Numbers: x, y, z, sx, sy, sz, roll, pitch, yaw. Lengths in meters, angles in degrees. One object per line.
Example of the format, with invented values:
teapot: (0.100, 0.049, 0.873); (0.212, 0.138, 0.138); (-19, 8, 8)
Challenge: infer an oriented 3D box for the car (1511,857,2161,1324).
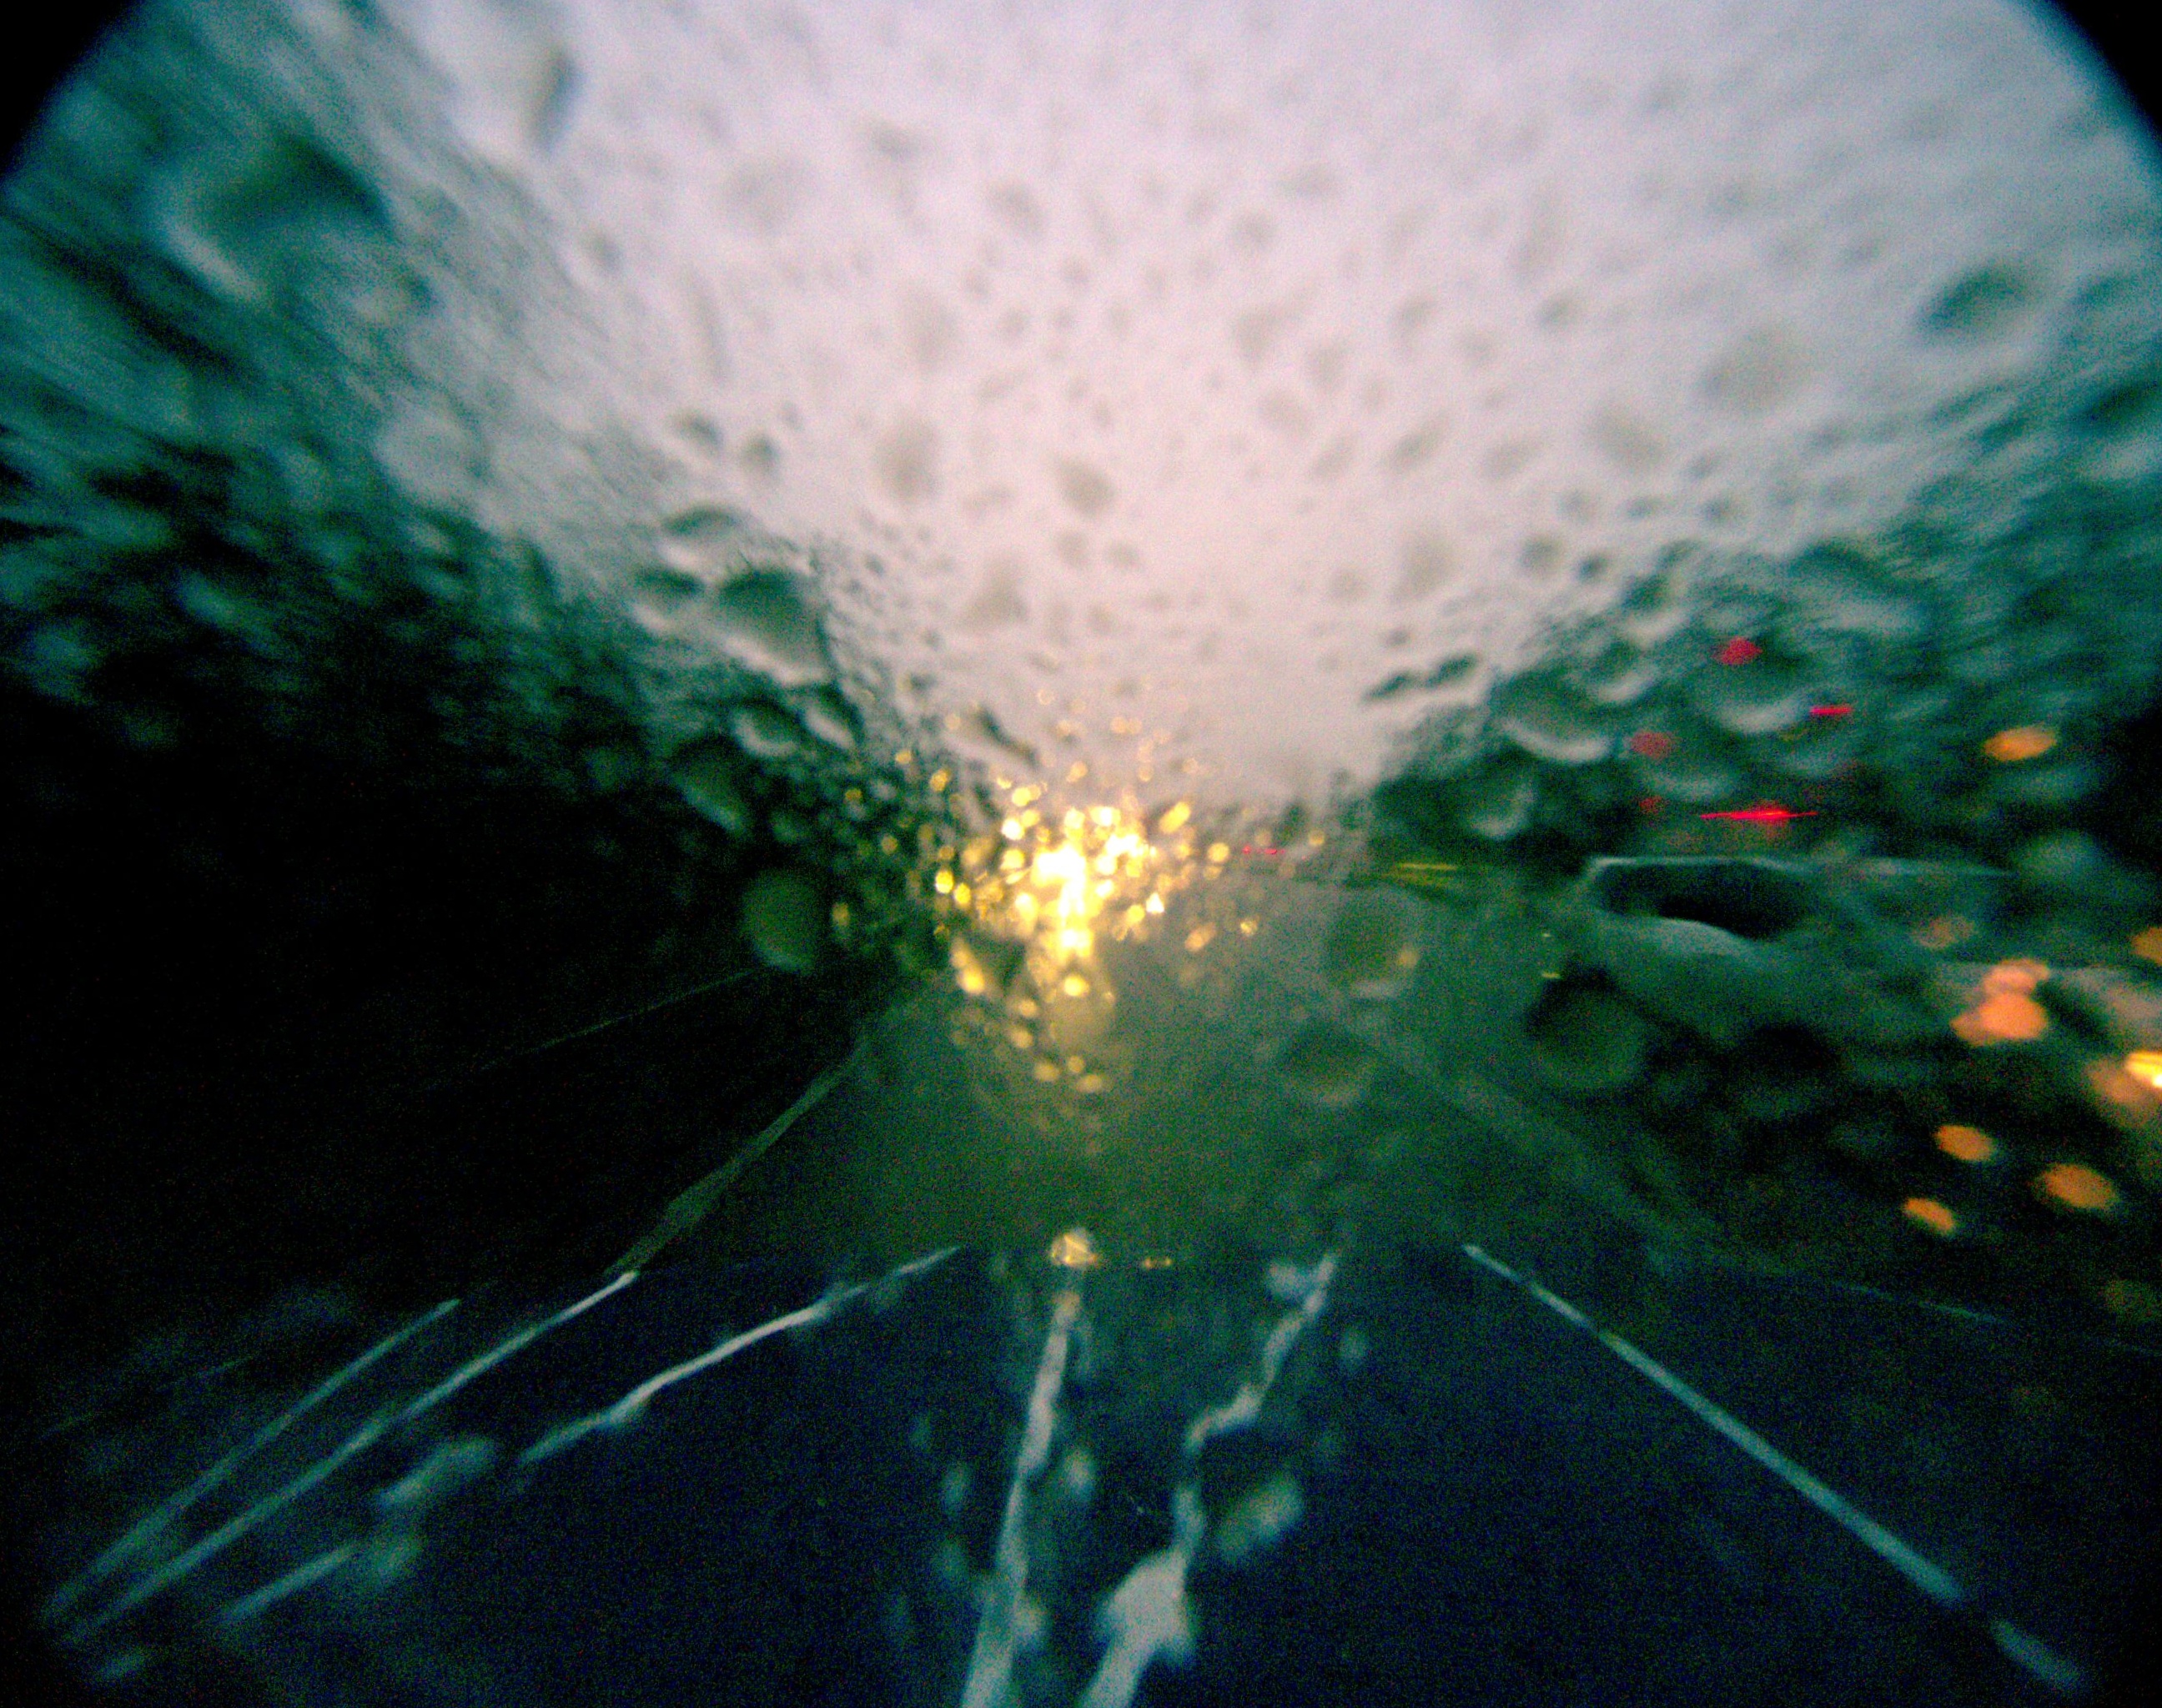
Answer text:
car: (4.692, 0.806, 4.316); (1.952, 1.511, 4.788); (0, 1, 3)

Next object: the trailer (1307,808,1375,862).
trailer: (25.751, -1.852, 76.171); (3.497, 4.819, 13.484); (-2, 1, 6)

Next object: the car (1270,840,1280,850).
car: (32.416, -1.519, 126.914); (1.460, 1.556, 3.653); (-1, 1, 12)

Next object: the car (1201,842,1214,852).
car: (21.323, -1.202, 128.152); (1.704, 1.556, 4.042); (-2, 1, 4)

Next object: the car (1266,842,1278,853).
car: (36.169, -1.262, 144.225); (1.997, 2.002, 4.003); (-2, 1, 12)

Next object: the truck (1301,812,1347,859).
truck: (26.563, -1.980, 83.306); (3.497, 4.820, 6.033); (-2, 1, 6)

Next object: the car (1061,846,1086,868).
car: (-0.633, 0.214, 60.623); (1.841, 1.553, 3.866); (-3, 1, -2)

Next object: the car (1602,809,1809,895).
car: (22.677, -0.100, 28.118); (2.533, 2.715, 6.340); (-3, 1, 2)
